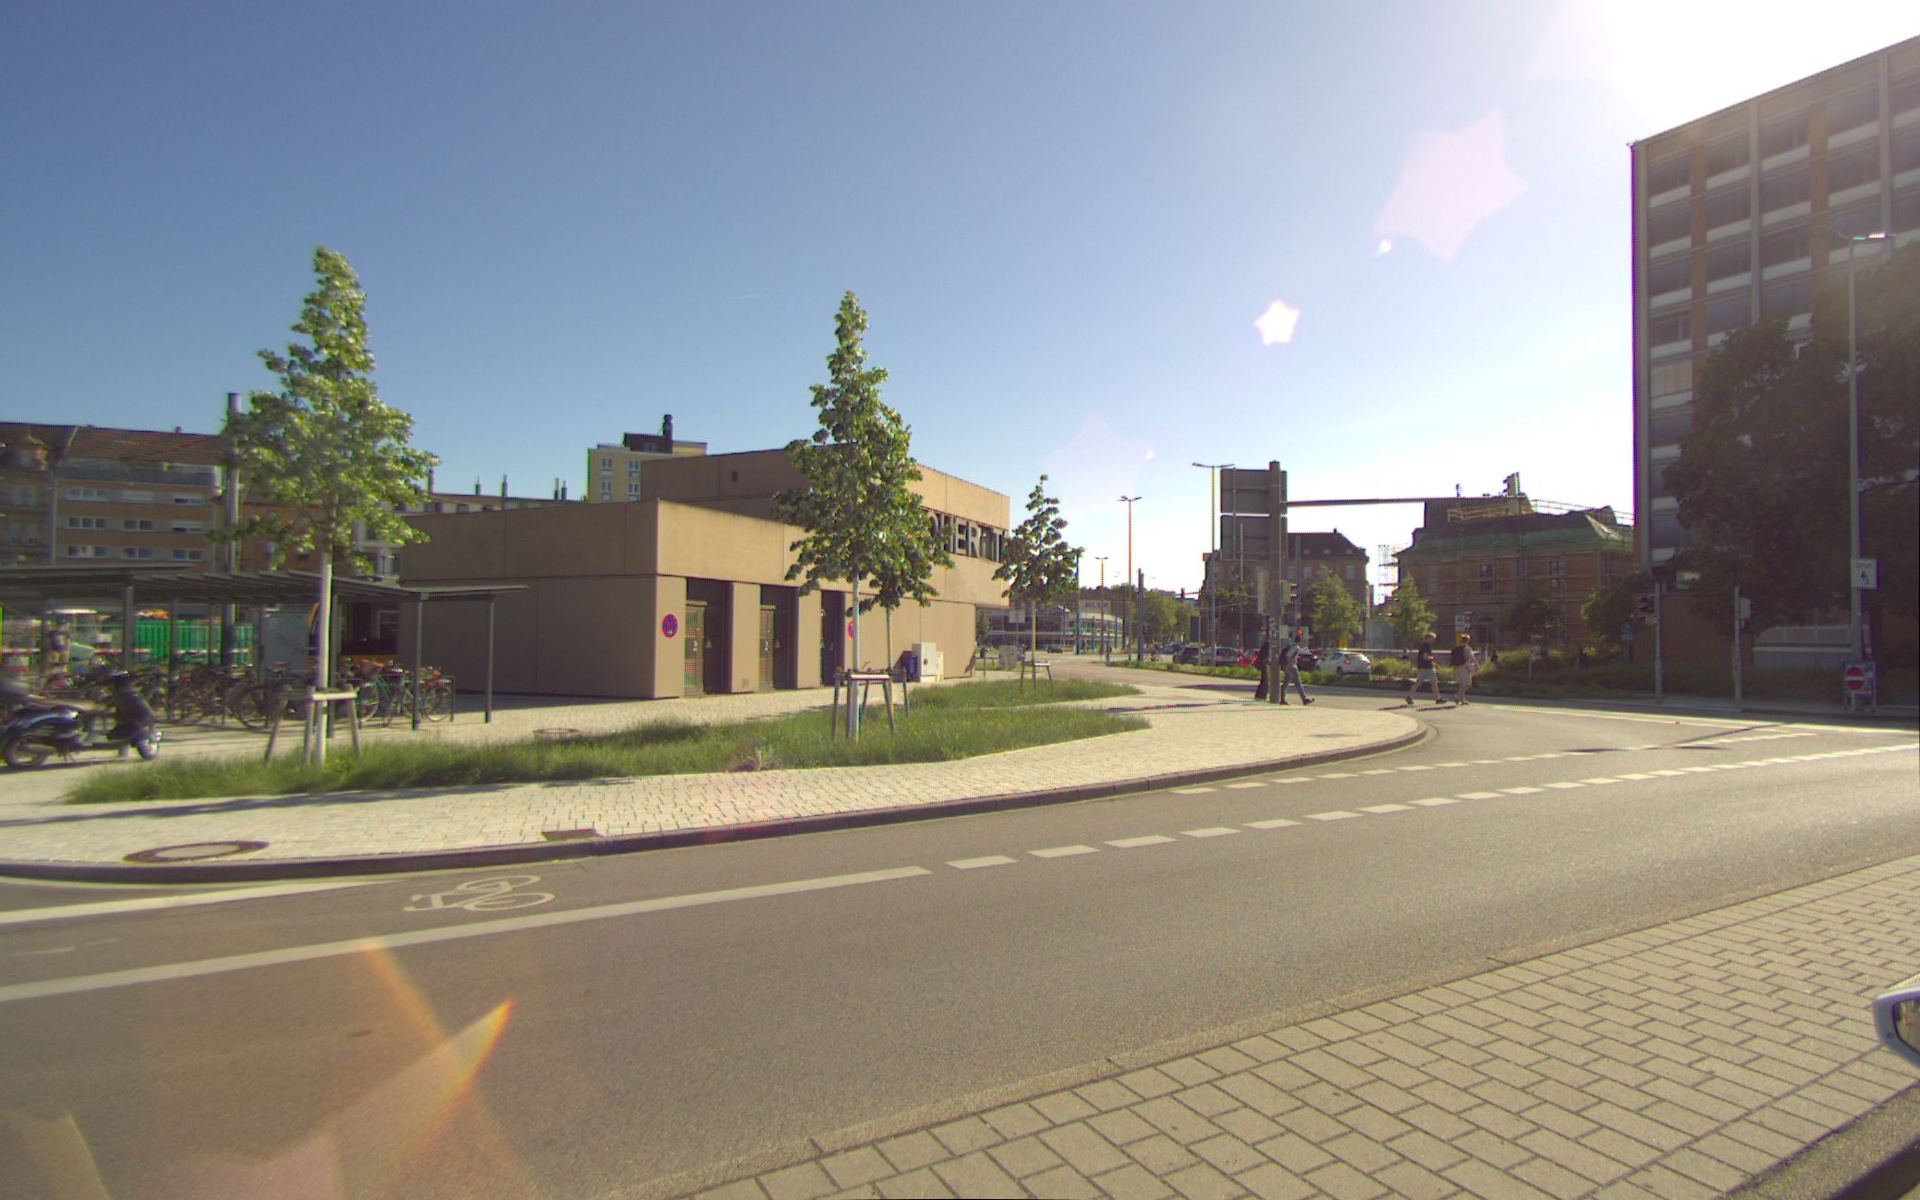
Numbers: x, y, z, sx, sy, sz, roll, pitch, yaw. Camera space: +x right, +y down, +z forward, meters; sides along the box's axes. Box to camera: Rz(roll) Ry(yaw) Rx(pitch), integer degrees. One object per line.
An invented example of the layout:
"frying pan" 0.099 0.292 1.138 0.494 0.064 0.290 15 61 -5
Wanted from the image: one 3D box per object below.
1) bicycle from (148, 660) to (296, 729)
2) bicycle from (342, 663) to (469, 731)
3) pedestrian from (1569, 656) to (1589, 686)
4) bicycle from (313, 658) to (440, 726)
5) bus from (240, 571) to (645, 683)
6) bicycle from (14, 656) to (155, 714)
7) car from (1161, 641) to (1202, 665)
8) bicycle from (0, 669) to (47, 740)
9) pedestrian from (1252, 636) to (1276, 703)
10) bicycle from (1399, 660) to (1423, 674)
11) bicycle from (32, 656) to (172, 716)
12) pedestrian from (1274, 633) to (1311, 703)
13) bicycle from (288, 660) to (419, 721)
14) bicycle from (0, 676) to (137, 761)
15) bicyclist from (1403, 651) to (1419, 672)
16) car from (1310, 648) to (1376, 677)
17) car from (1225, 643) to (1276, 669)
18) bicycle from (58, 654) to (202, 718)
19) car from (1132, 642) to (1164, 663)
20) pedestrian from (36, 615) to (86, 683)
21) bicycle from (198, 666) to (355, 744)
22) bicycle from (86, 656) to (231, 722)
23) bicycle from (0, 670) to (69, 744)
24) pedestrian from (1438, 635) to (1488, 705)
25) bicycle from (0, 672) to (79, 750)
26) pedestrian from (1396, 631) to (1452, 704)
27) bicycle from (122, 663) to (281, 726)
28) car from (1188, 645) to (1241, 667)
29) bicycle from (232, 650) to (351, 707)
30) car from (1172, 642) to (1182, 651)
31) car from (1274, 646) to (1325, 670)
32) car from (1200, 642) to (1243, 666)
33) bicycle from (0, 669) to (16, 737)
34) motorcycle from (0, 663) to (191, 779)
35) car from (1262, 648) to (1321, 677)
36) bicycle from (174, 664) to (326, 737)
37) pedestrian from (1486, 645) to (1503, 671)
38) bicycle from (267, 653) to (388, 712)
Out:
"bicycle" -12.905 1.627 17.653 0.524 1.051 2.070 2 0 26
"bicycle" -9.973 1.719 18.157 0.524 1.051 2.070 2 0 26
"pedestrian" 33.936 3.876 55.056 0.587 1.624 0.739 1 -2 -8
"bicycle" -10.803 1.681 18.695 0.594 1.093 2.053 2 0 25
"bus" -16.825 1.003 34.863 2.810 3.112 13.620 0 -2 25
"bicycle" -17.778 1.695 20.452 0.524 1.051 2.070 5 0 26
"car" 16.512 3.940 75.122 1.809 1.653 4.386 1 -2 -4
"bicycle" -14.206 1.523 14.371 0.399 0.985 1.683 2 0 22
"pedestrian" 8.160 1.854 27.008 0.585 1.751 0.580 0 -2 14
"bicycle" 32.158 4.780 71.628 0.587 0.976 2.081 1 -2 -6
"bicycle" -16.890 1.675 19.844 0.524 1.051 2.070 -2 -2 26
"pedestrian" 8.375 1.721 25.288 0.887 1.711 0.840 0 -5 19
"bicycle" -11.768 1.730 19.568 0.679 1.011 2.140 2 0 26
"bicycle" -12.208 1.571 13.574 0.399 0.985 1.683 2 0 22
"bicyclist" 32.156 4.407 71.639 0.587 1.448 0.938 1 -2 -8
"car" 21.265 3.456 55.940 1.711 1.454 3.843 1 -2 -10
"car" 20.030 3.841 69.430 1.810 1.653 4.382 1 -2 -8
"bicycle" -15.908 1.621 19.316 0.524 1.051 2.070 5 1 26
"car" 16.083 4.457 85.984 1.808 1.653 4.387 1 -2 -2
"pedestrian" -26.140 1.426 29.216 0.755 1.942 0.803 0 -2 23
"bicycle" -10.909 1.648 16.129 0.524 1.051 2.070 2 0 26
"bicycle" -15.023 1.638 18.901 0.524 1.051 2.070 5 1 26
"bicycle" -13.702 1.529 14.170 0.399 0.985 1.683 2 0 22
"pedestrian" 12.529 1.750 25.037 0.775 1.711 0.794 2 -5 -11
"bicycle" -13.236 1.541 13.808 0.399 0.985 1.683 2 0 22
"pedestrian" 11.920 1.752 25.830 1.084 1.822 0.703 2 -5 -14
"bicycle" -13.715 1.675 18.257 0.673 0.956 2.233 2 0 25
"car" 17.260 3.765 68.323 1.810 1.406 4.895 1 -2 -8
"bicycle" -13.923 1.613 20.988 0.524 1.051 2.070 2 0 26
"car" 41.820 8.951 193.620 1.959 1.684 4.003 0 -2 12
"car" 25.567 4.325 75.799 1.809 1.653 4.836 1 -2 -6
"car" 19.609 4.036 75.502 1.809 1.653 4.386 1 -2 -4
"bicycle" -14.724 1.539 14.421 0.399 0.985 1.683 2 0 22
"motorcycle" -10.855 1.445 12.472 0.558 1.235 2.087 0 -1 21
"car" 20.692 3.894 62.892 1.810 1.653 4.382 1 -2 -8
"bicycle" -11.922 1.654 16.953 0.524 1.051 2.070 2 0 26
"pedestrian" 33.388 3.623 62.719 0.548 1.592 0.862 1 -2 -3
"bicycle" -12.749 1.645 20.324 0.524 1.051 2.070 2 0 26
